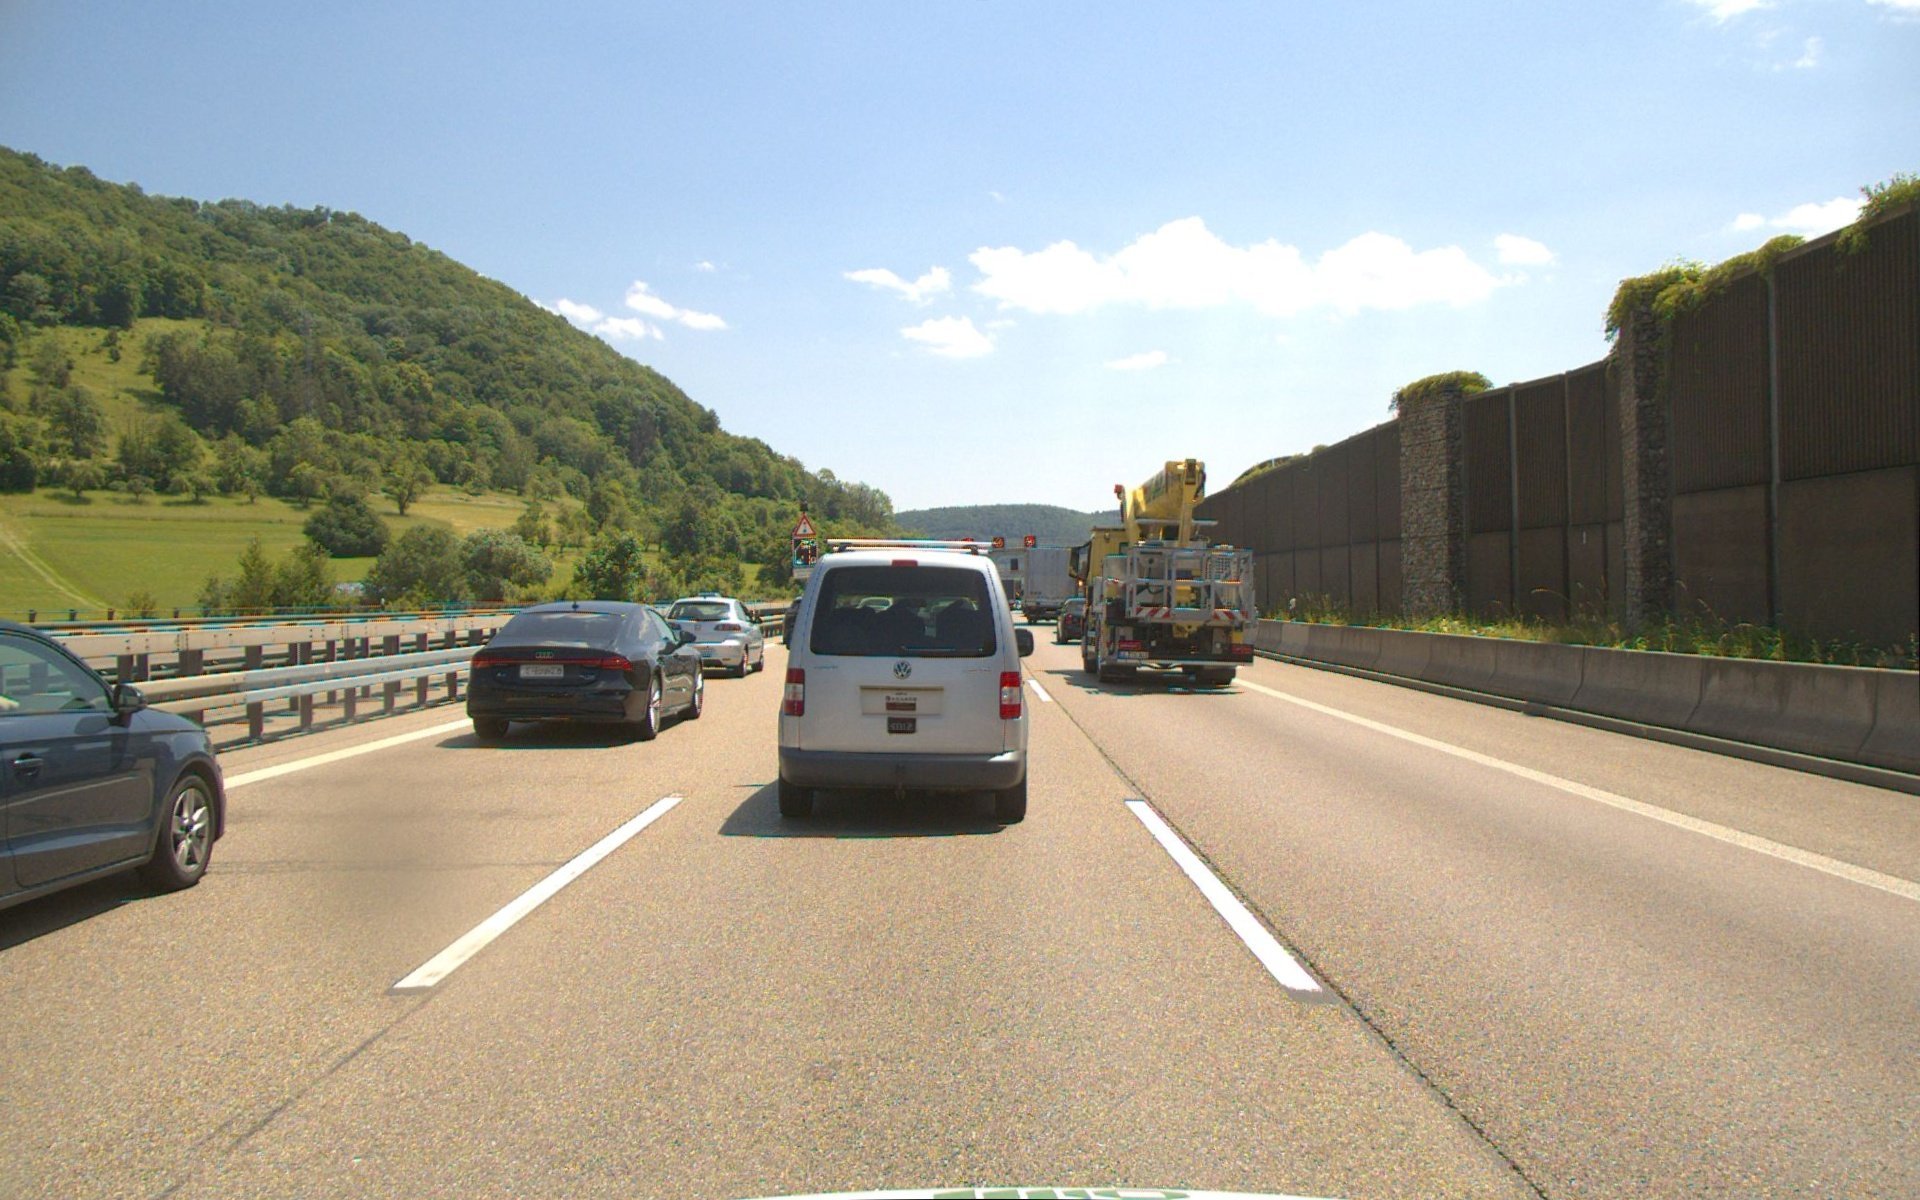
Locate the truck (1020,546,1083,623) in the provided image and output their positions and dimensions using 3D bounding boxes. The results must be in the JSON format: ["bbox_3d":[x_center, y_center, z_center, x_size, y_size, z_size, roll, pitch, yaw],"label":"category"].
[{"bbox_3d":[4.813,-0.756,88.495,2.880,3.890,8.236,1,-1,0],"label":"truck"}]

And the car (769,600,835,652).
[{"bbox_3d":[-4.826,0.767,50.915,1.887,1.525,3.997,1,0,-4],"label":"car"}]

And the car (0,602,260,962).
[{"bbox_3d":[-4.618,0.720,6.988,1.654,1.413,3.999,0,0,-1],"label":"car"}]

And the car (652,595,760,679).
[{"bbox_3d":[-4.715,0.649,31.132,1.662,1.470,3.859,0,0,-4],"label":"car"}]

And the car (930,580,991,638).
[{"bbox_3d":[-0.014,0.321,59.712,1.954,2.010,3.997,0,0,-4],"label":"car"}]

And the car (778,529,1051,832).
[{"bbox_3d":[-0.418,0.503,12.434,1.721,1.900,3.997,0,0,-4],"label":"car"}]

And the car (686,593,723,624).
[{"bbox_3d":[-17.192,0.589,111.456,1.953,2.049,3.999,0,0,-1],"label":"car"}]

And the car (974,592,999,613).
[{"bbox_3d":[2.250,0.209,142.223,1.953,1.779,3.999,1,-1,-1],"label":"car"}]

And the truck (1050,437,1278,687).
[{"bbox_3d":[3.532,-0.618,30.996,2.650,4.011,8.714,0,0,-4],"label":"truck"}]

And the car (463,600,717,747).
[{"bbox_3d":[-3.956,0.713,18.556,1.764,1.415,4.969,0,0,0],"label":"car"}]

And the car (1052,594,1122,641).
[{"bbox_3d":[4.099,0.552,53.958,1.751,1.484,3.768,0,0,-4],"label":"car"}]

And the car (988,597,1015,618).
[{"bbox_3d":[3.753,0.677,151.306,2.072,1.860,3.996,1,-1,-4],"label":"car"}]
